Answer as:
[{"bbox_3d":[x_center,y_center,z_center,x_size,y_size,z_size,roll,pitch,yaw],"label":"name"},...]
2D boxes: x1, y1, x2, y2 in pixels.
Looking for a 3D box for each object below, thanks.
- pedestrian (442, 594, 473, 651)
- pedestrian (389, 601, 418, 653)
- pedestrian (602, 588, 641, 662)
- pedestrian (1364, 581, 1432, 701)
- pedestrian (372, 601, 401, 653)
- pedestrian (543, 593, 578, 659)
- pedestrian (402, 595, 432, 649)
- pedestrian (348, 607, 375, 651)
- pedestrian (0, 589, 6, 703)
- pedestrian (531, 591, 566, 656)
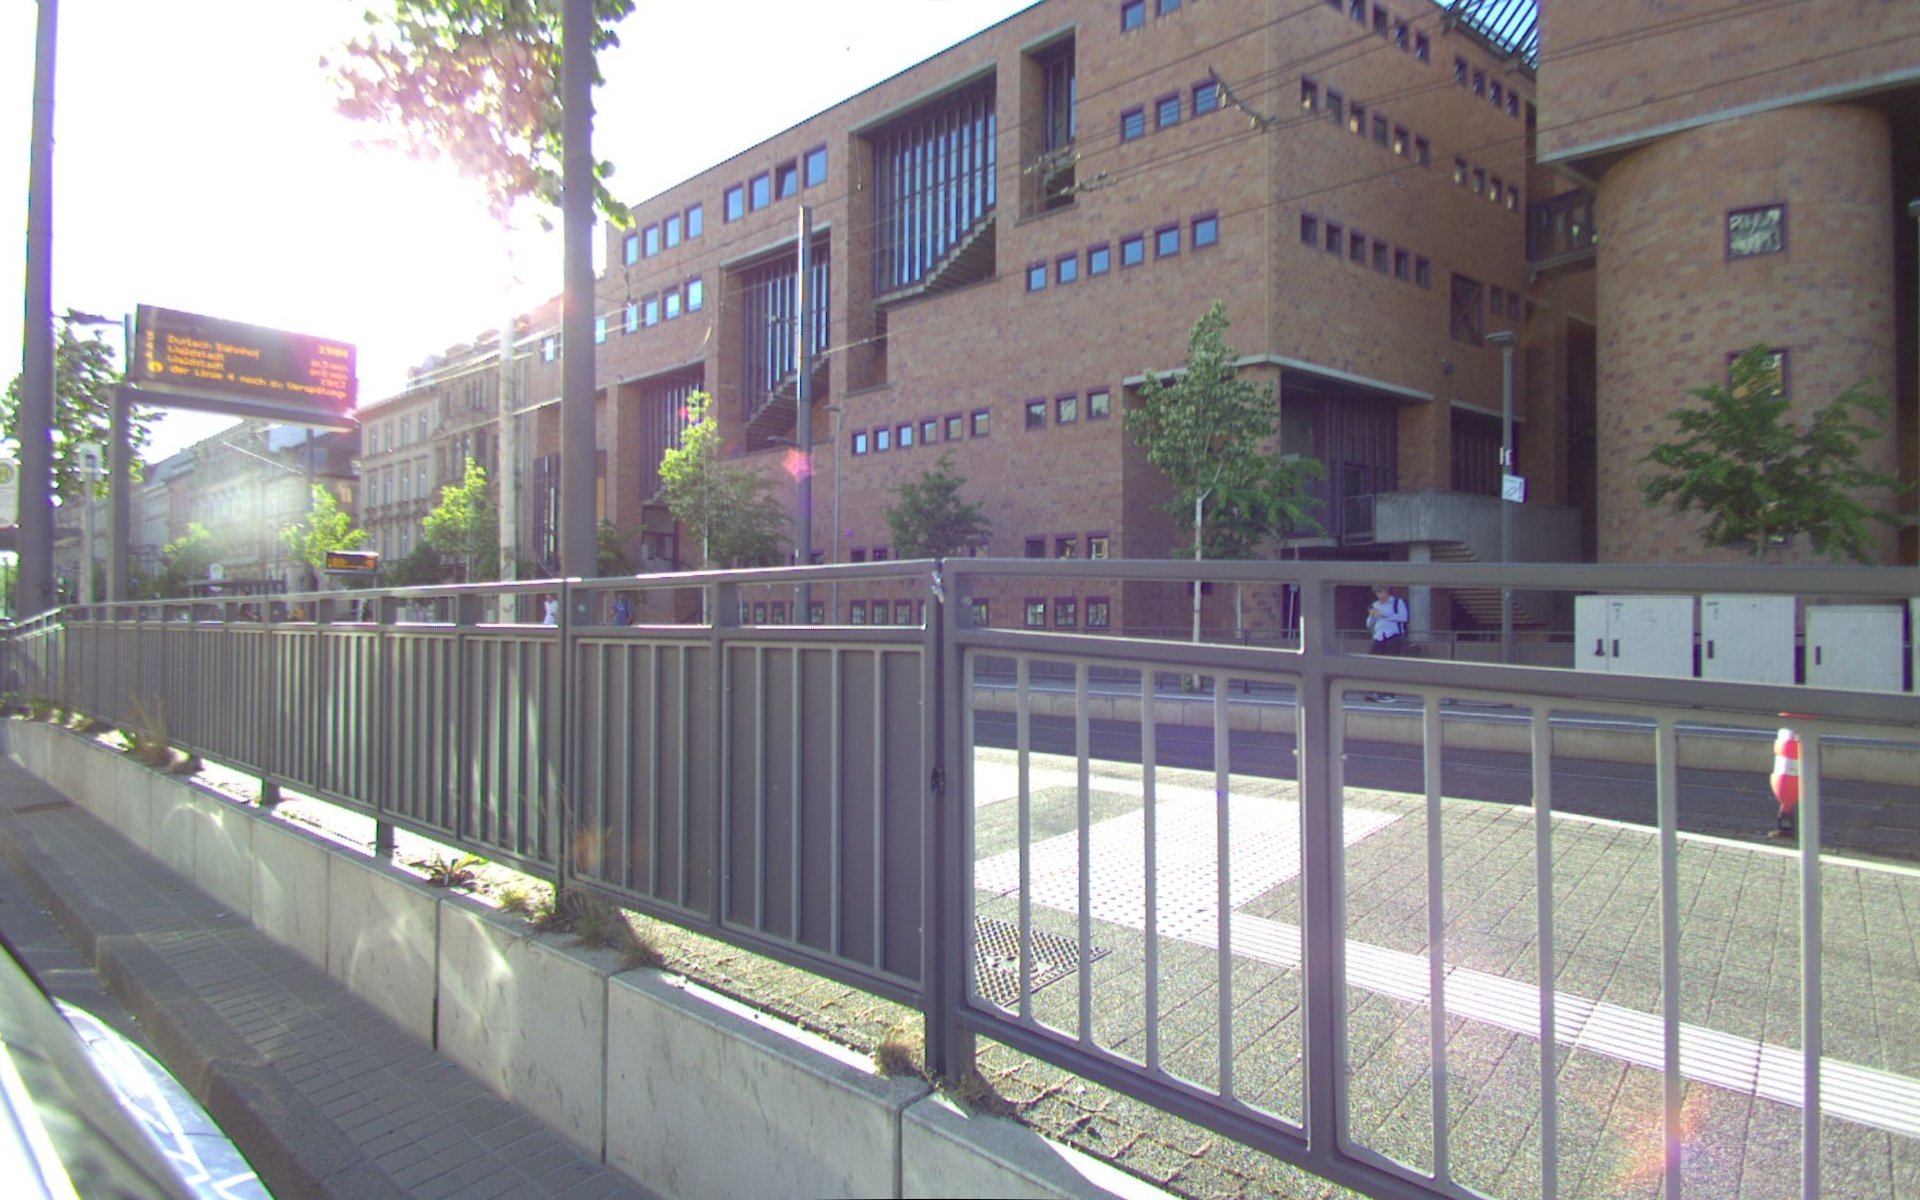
[{"bbox_3d":[-15.650,0.697,31.521,0.586,1.755,0.684,-2,-2,38],"label":"pedestrian"},{"bbox_3d":[-18.850,0.921,34.290,0.586,1.755,0.684,-2,-2,38],"label":"pedestrian"},{"bbox_3d":[-8.201,0.601,24.526,0.586,1.755,0.684,-2,-2,38],"label":"pedestrian"},{"bbox_3d":[5.816,0.535,13.436,0.653,1.546,0.693,-1,-2,38],"label":"pedestrian"},{"bbox_3d":[-19.805,0.934,34.961,0.586,1.755,0.684,-2,-2,38],"label":"pedestrian"},{"bbox_3d":[-10.831,0.705,27.423,0.586,1.755,0.684,-2,-2,38],"label":"pedestrian"},{"bbox_3d":[-17.872,0.726,33.284,0.586,1.755,0.684,-2,-2,38],"label":"pedestrian"},{"bbox_3d":[-21.766,1.039,36.801,0.586,1.587,0.684,-2,-2,38],"label":"pedestrian"},{"bbox_3d":[-17.361,0.808,17.652,0.771,2.029,0.883,0,-2,-25],"label":"pedestrian"},{"bbox_3d":[-11.327,0.641,27.853,0.586,1.755,0.684,-2,-2,38],"label":"pedestrian"}]
